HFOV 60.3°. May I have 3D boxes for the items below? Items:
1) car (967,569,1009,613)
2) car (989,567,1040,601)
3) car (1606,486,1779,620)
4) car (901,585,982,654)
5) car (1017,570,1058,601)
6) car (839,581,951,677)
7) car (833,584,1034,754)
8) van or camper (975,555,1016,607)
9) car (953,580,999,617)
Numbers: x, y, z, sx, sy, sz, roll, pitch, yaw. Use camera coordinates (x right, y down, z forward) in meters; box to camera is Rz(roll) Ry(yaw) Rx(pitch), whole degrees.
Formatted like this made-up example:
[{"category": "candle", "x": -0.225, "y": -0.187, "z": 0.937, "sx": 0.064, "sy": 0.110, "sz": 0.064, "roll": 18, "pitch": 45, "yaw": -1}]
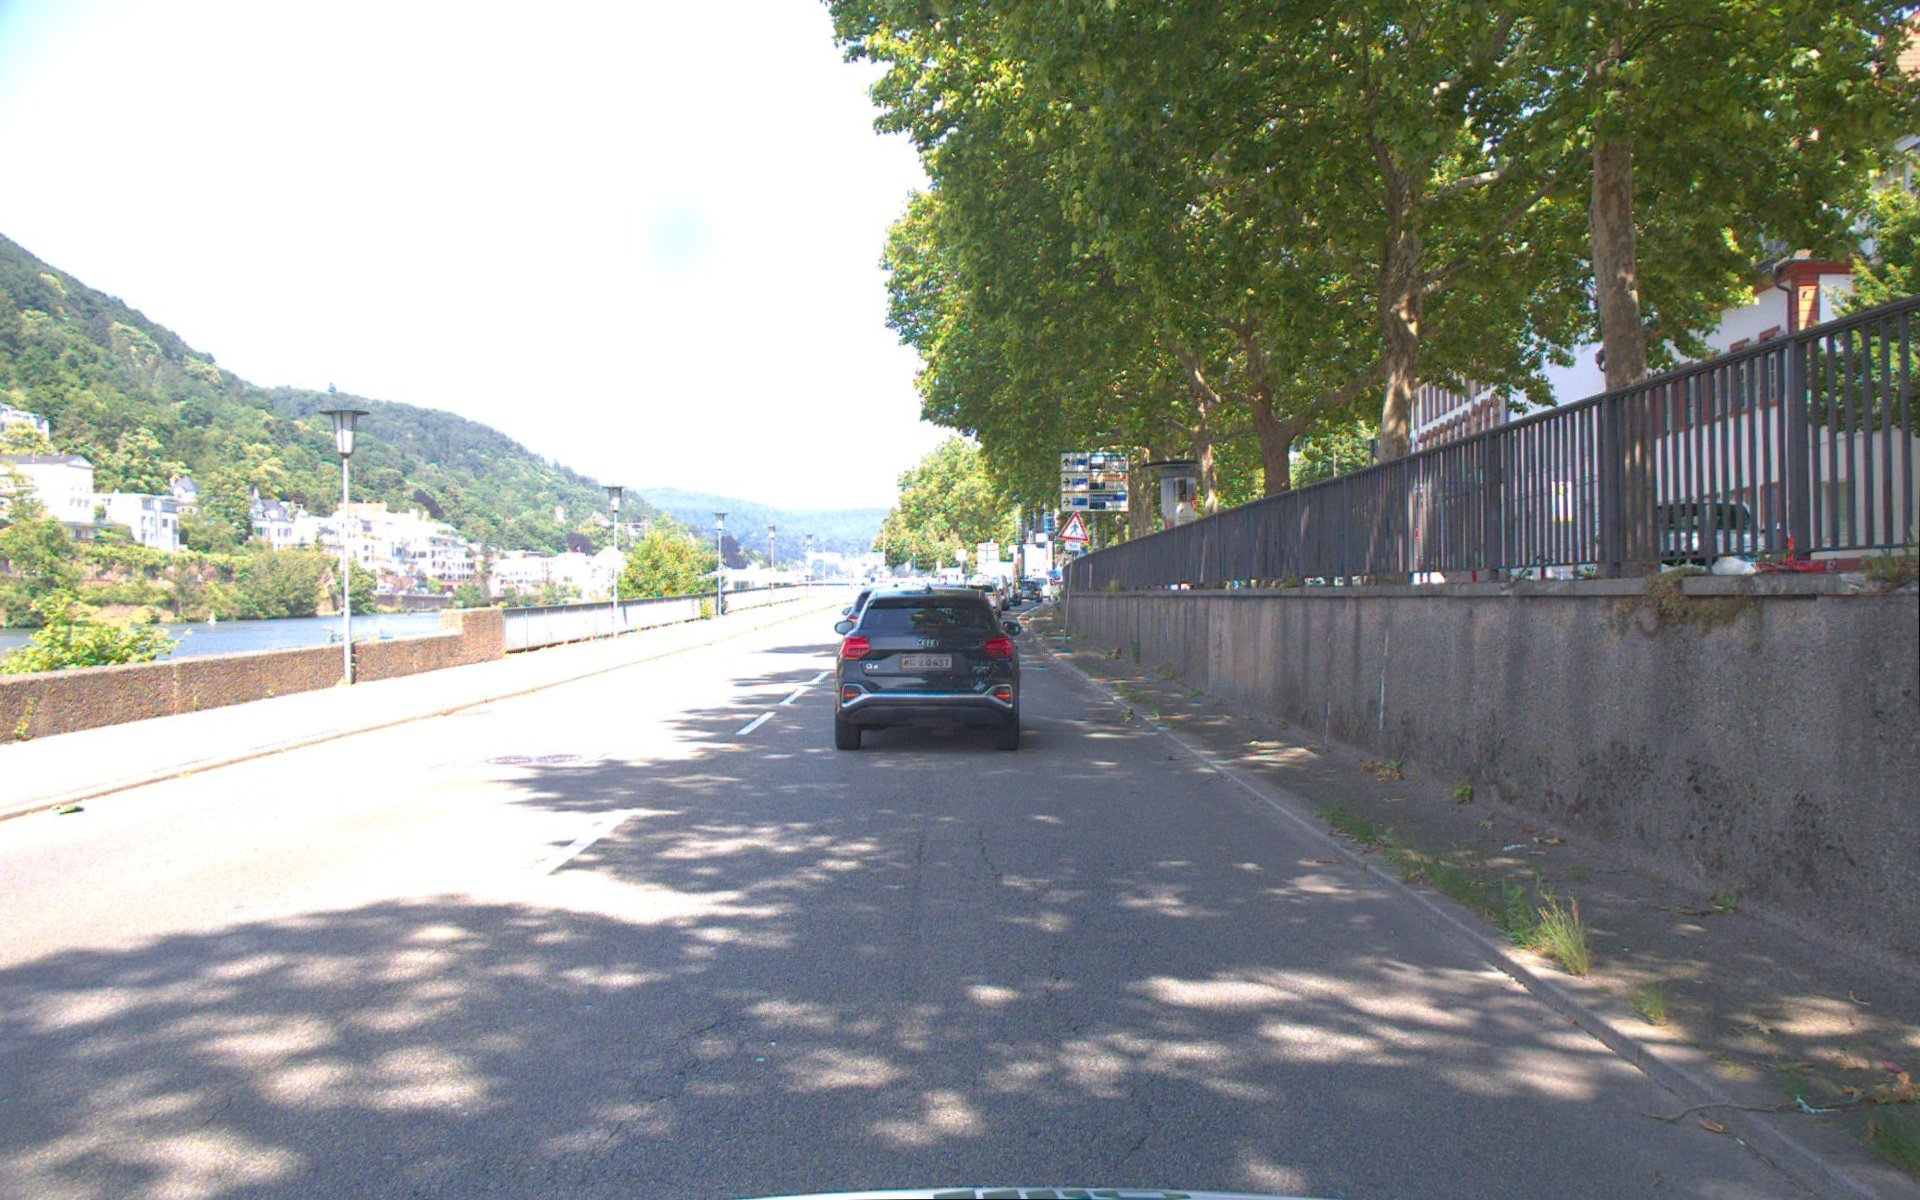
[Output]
[{"category": "car", "x": 1.435, "y": -0.462, "z": 86.923, "sx": 1.953, "sy": 2.207, "sz": 3.999, "roll": -2, "pitch": 0, "yaw": -1}, {"category": "car", "x": 3.671, "y": -1.074, "z": 112.873, "sx": 3.036, "sy": 2.048, "sz": 5.823, "roll": -3, "pitch": 0, "yaw": -1}, {"category": "car", "x": 9.212, "y": -0.540, "z": 20.645, "sx": 1.740, "sy": 1.495, "sz": 3.995, "roll": 0, "pitch": 0, "yaw": 27}, {"category": "car", "x": -0.446, "y": 0.421, "z": 38.746, "sx": 1.791, "sy": 1.512, "sz": 3.999, "roll": 0, "pitch": 0, "yaw": -1}, {"category": "car", "x": 5.745, "y": -1.082, "z": 123.737, "sx": 2.608, "sy": 2.048, "sz": 5.823, "roll": -3, "pitch": 0, "yaw": -1}, {"category": "car", "x": -1.085, "y": 0.460, "z": 28.655, "sx": 1.791, "sy": 1.537, "sz": 3.999, "roll": 0, "pitch": 0, "yaw": -1}, {"category": "car", "x": -0.277, "y": 0.607, "z": 16.841, "sx": 1.791, "sy": 1.512, "sz": 3.999, "roll": 0, "pitch": 0, "yaw": -1}, {"category": "van or camper", "x": 2.125, "y": -1.123, "z": 98.912, "sx": 2.262, "sy": 2.897, "sz": 4.246, "roll": -2, "pitch": 0, "yaw": 1}, {"category": "car", "x": 0.629, "y": -0.085, "z": 68.615, "sx": 1.791, "sy": 1.470, "sz": 3.999, "roll": 0, "pitch": 0, "yaw": -1}]
